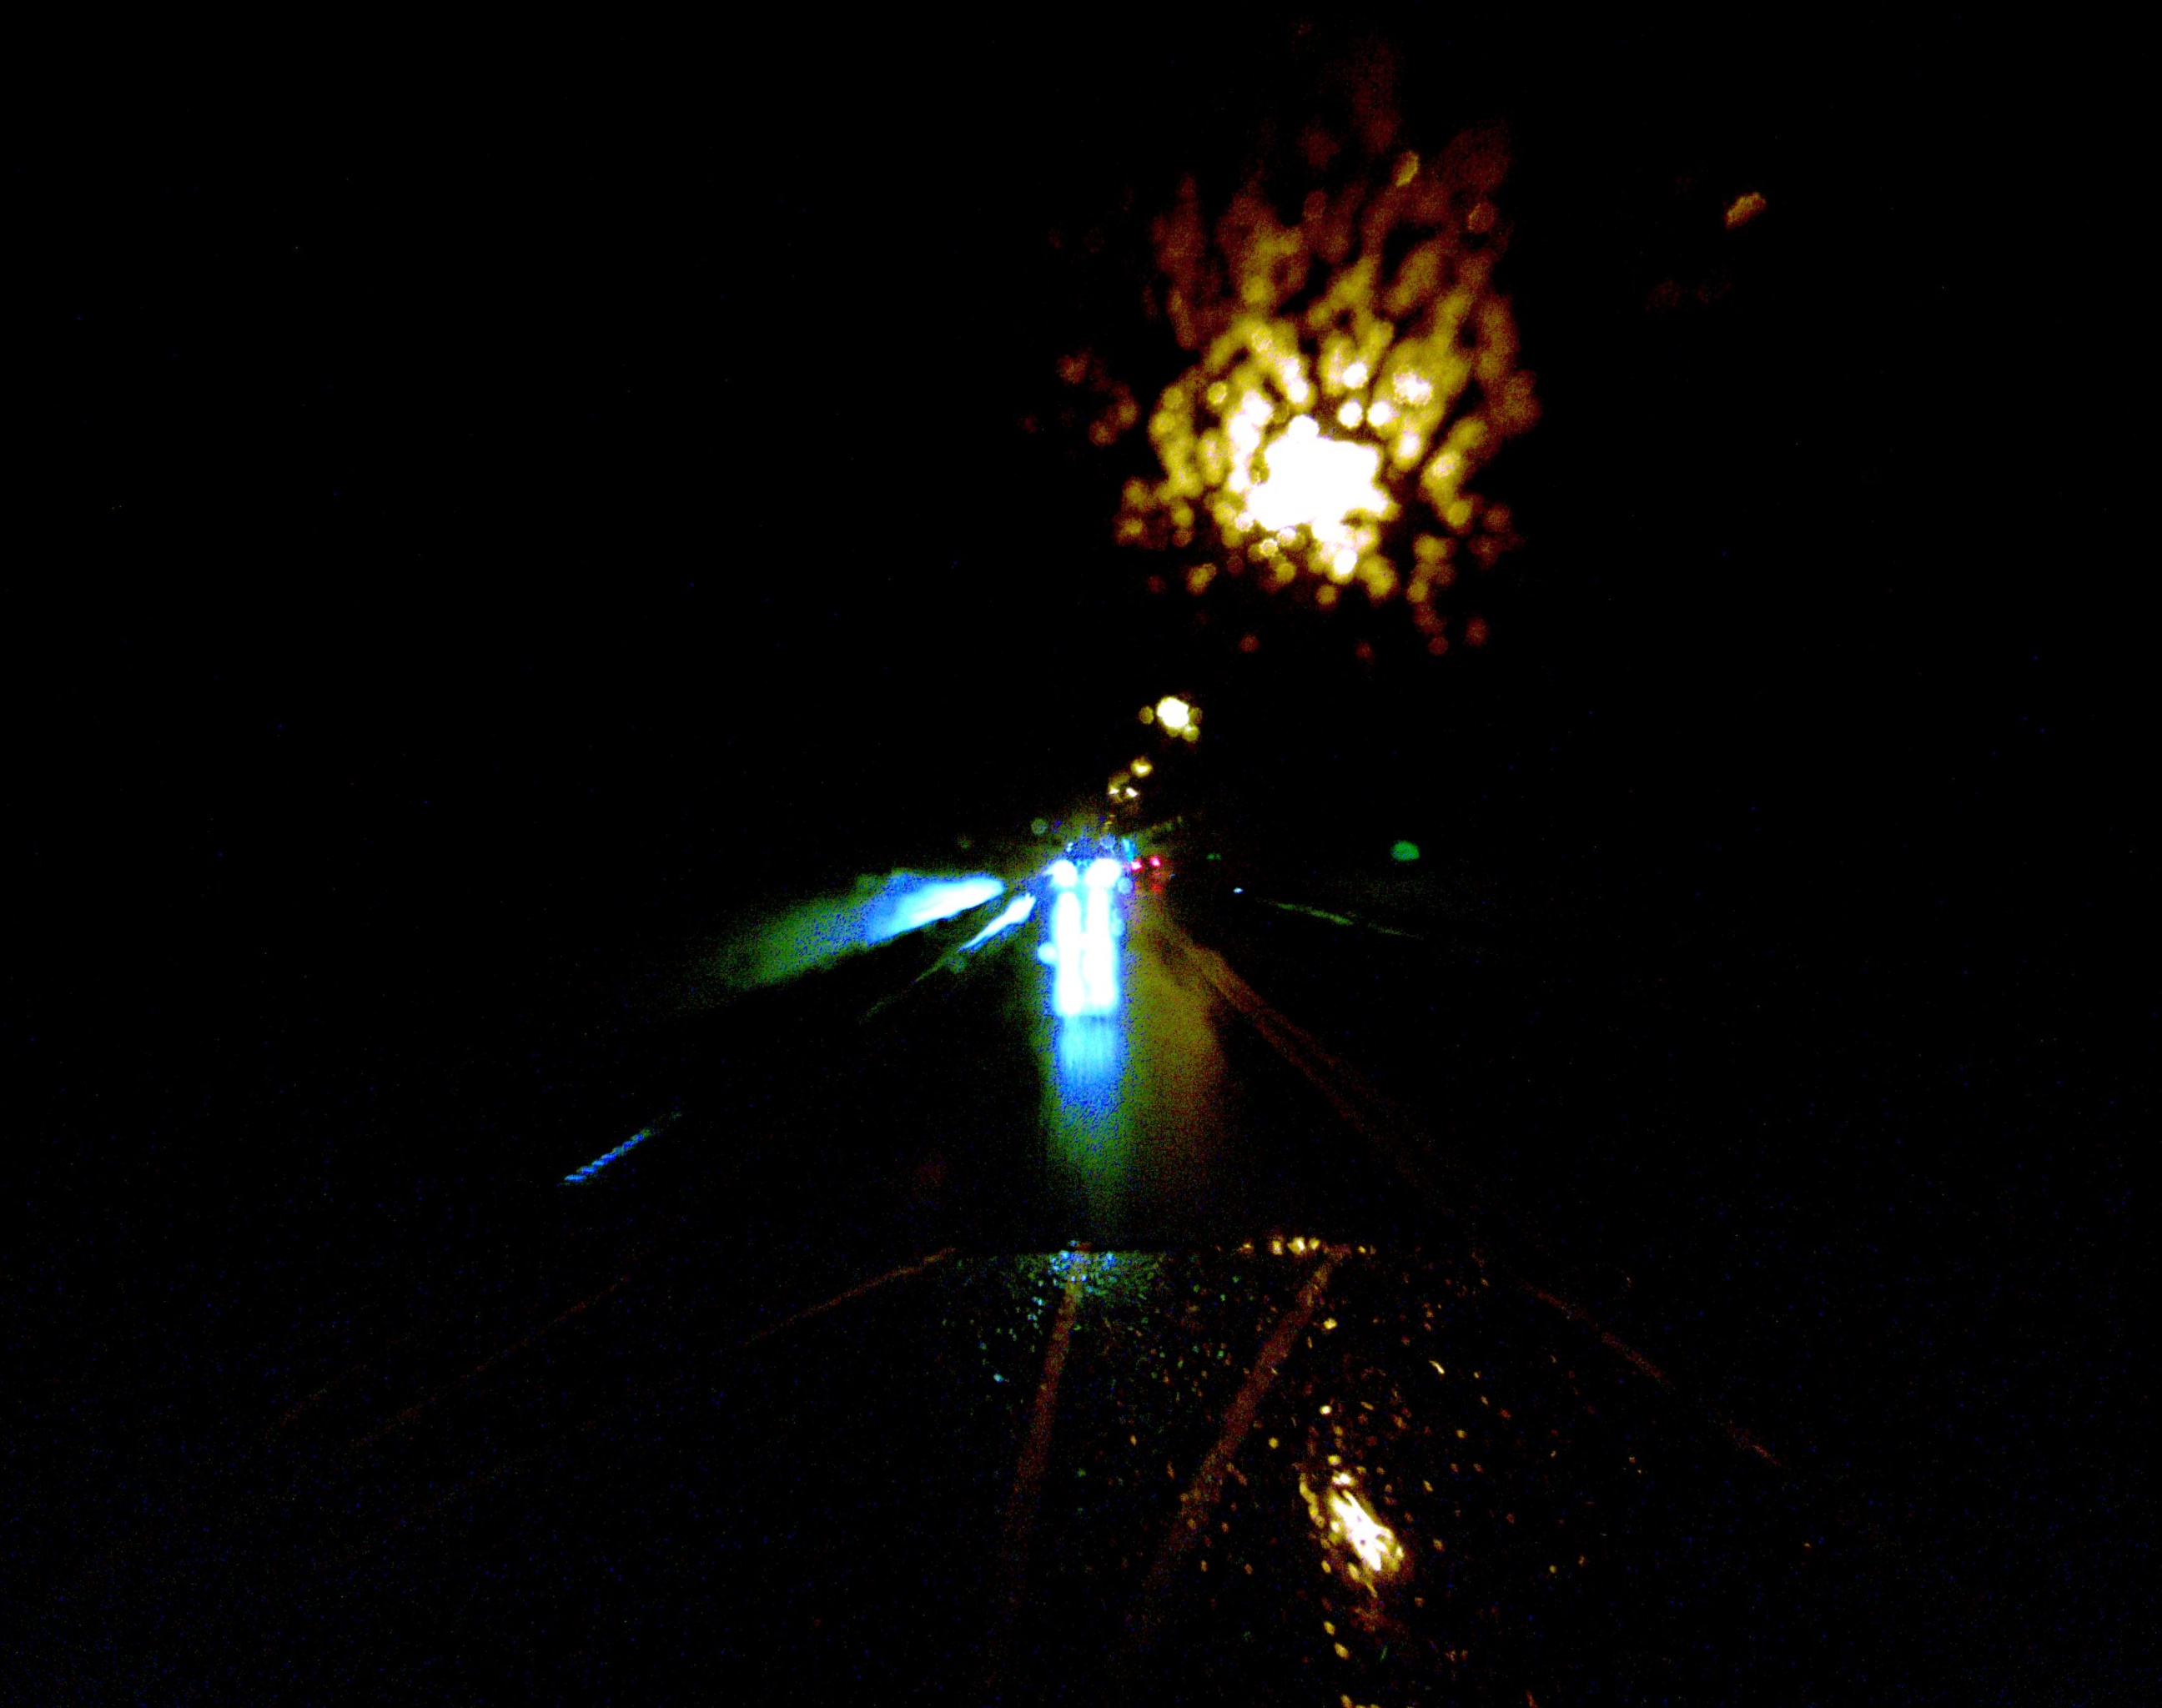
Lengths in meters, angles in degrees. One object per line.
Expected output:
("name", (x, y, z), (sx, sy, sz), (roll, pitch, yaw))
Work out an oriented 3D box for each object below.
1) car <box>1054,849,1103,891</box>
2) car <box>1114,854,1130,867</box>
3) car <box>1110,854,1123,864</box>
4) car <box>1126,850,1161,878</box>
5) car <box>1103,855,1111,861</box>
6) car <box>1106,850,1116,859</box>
("car", (-0.057, 0.715, 36.261), (1.998, 1.547, 3.999), (-6, 2, 2))
("car", (4.572, 0.722, 84.723), (1.694, 1.414, 3.625), (-1, 0, 1))
("car", (5.275, 0.735, 113.045), (1.705, 1.546, 3.873), (-2, 0, 1))
("car", (4.111, 0.628, 50.791), (1.998, 1.699, 4.280), (-2, 0, 1))
("car", (5.802, 0.872, 170.602), (1.715, 1.453, 3.575), (-1, 0, 1))
("car", (5.485, 0.141, 137.956), (1.673, 1.637, 3.907), (1, -1, 1))
